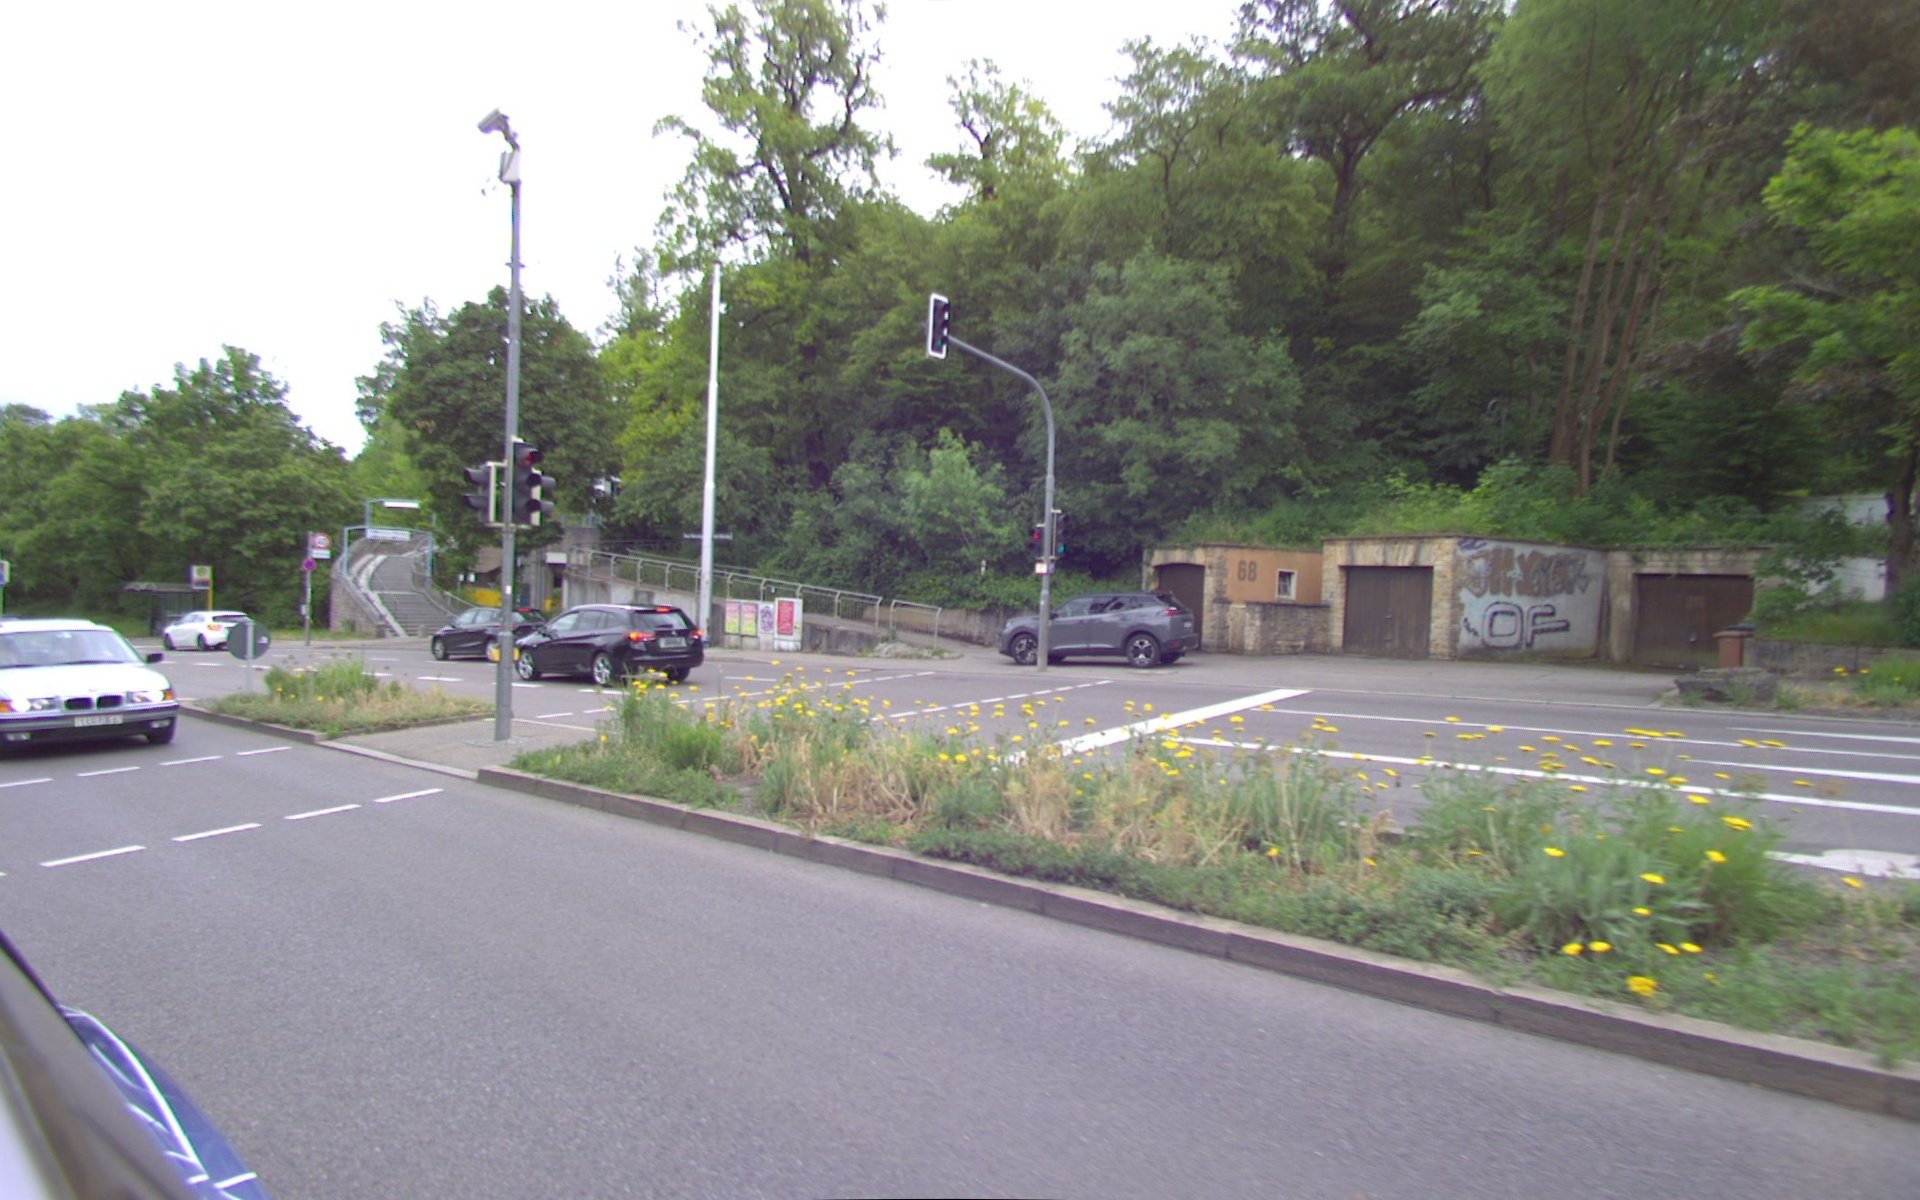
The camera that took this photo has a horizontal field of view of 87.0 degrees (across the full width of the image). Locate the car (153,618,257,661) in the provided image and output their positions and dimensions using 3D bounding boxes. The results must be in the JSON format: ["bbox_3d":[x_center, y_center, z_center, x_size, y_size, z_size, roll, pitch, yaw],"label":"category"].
[{"bbox_3d":[-27.601,1.428,36.974,4.130,1.403,1.639,-2,1,32],"label":"car"}]

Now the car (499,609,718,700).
[{"bbox_3d":[-6.775,0.968,19.311,4.547,1.512,1.676,-1,0,37],"label":"car"}]

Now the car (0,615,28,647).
[{"bbox_3d":[-45.753,1.482,47.481,4.547,1.459,1.640,-2,0,29],"label":"car"}]

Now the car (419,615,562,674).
[{"bbox_3d":[-12.523,1.161,26.949,3.845,1.403,1.613,-2,1,33],"label":"car"}]

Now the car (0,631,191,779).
[{"bbox_3d":[-10.803,1.093,11.937,4.610,1.404,1.735,-1,0,39],"label":"car"}]

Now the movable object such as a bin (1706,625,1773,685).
[{"bbox_3d":[14.171,0.986,18.417,0.630,1.019,0.732,-2,0,-22],"label":"movable object such as a bin"}]

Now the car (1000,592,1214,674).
[{"bbox_3d":[3.034,0.680,21.093,4.116,1.551,1.583,-1,-1,30],"label":"car"}]
